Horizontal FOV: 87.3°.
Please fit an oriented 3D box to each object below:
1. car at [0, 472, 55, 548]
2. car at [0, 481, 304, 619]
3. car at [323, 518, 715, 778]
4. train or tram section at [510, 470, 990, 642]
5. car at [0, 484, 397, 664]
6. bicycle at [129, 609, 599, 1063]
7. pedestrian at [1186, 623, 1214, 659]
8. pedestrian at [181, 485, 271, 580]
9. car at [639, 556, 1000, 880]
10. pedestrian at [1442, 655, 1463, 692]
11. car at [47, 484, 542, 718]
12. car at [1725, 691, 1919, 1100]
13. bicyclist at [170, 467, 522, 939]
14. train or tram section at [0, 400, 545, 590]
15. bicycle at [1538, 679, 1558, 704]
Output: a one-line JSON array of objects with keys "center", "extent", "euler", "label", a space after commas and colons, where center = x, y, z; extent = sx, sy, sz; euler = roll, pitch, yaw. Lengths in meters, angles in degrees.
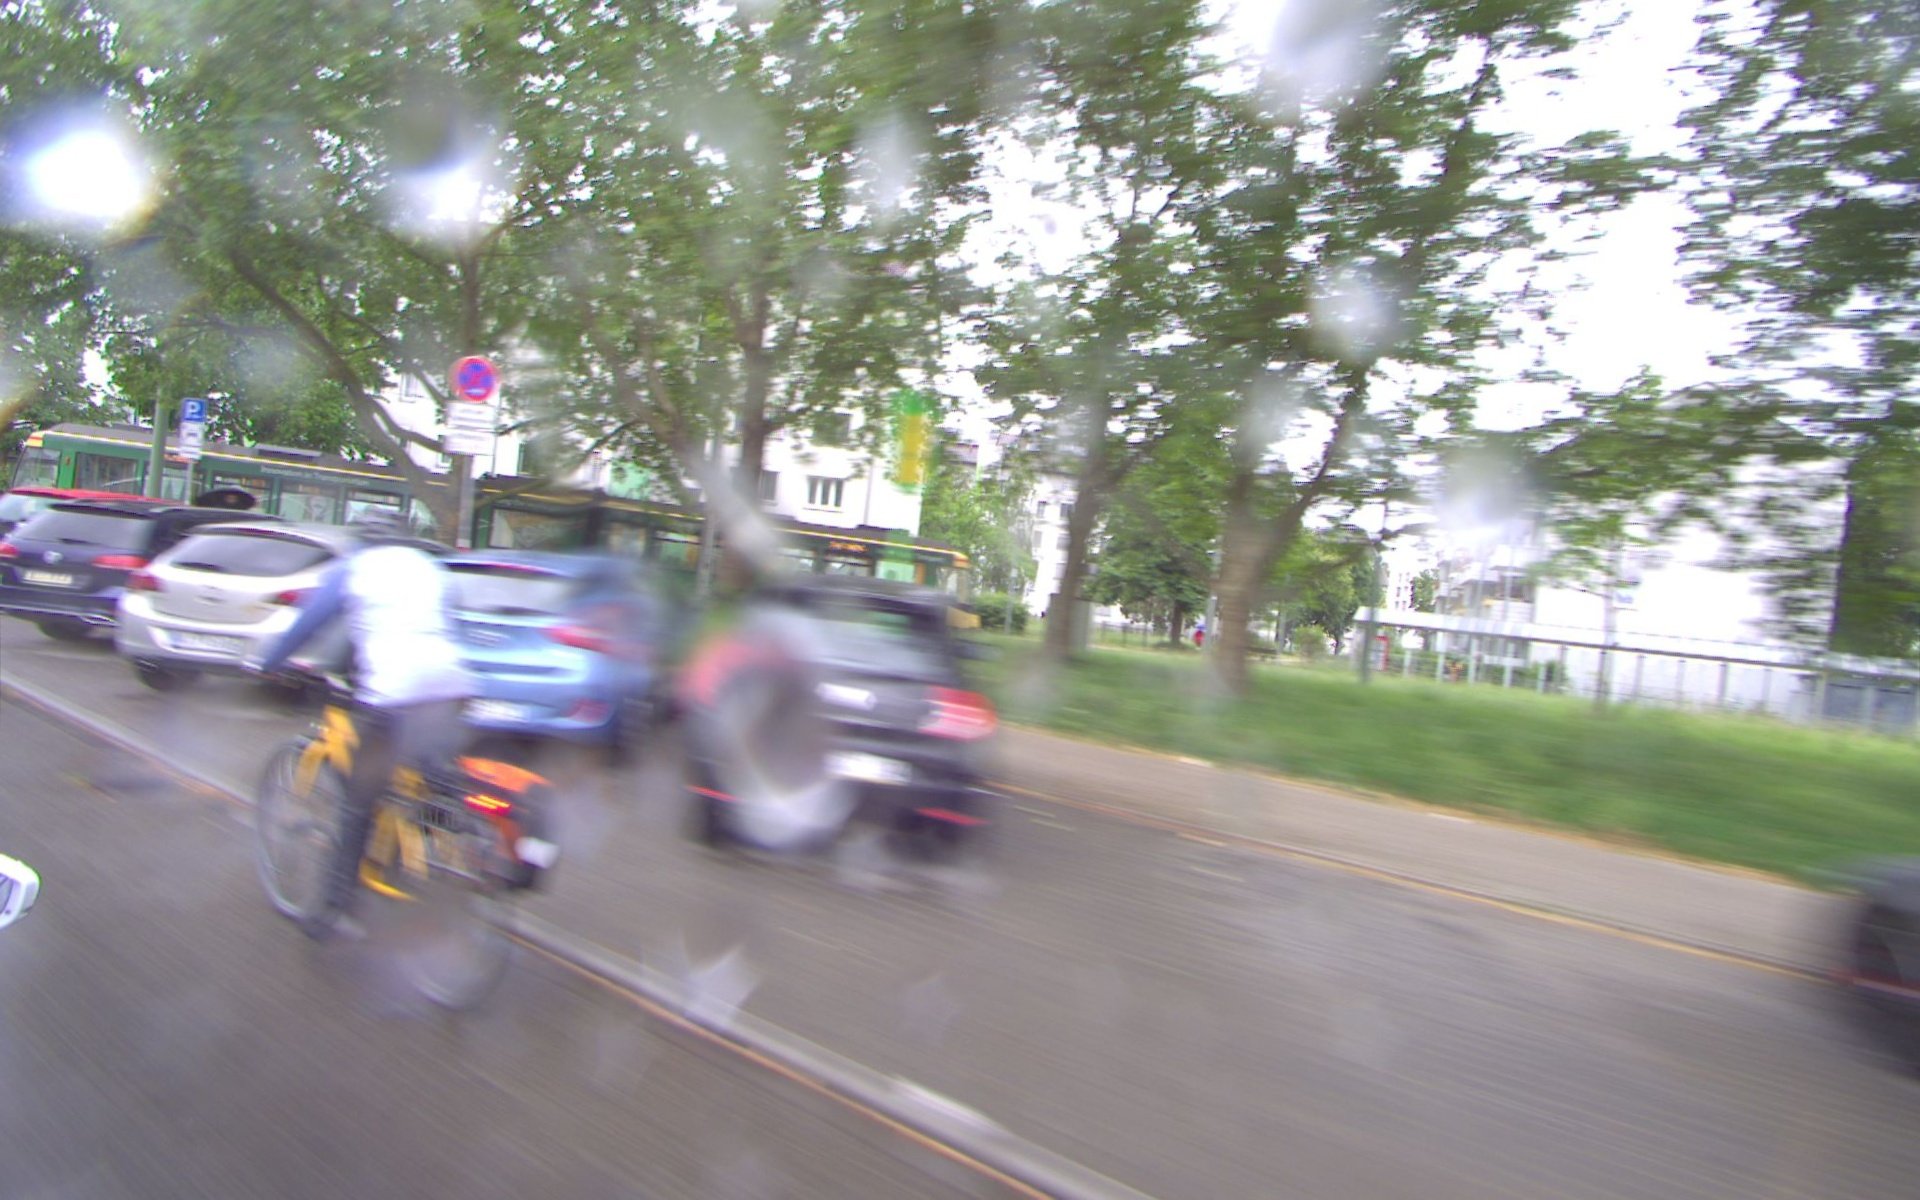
[{"center": [-20.803, -1.998, 19.907], "extent": [1.963, 1.502, 3.999], "euler": [8, 1, 2], "label": "car"}, {"center": [-11.013, -0.641, 13.545], "extent": [1.606, 1.499, 3.597], "euler": [7, 2, 7], "label": "car"}, {"center": [-3.281, 0.211, 8.388], "extent": [1.792, 1.521, 3.991], "euler": [5, 3, -6], "label": "car"}, {"center": [-6.525, -1.268, 32.973], "extent": [14.489, 3.633, 2.711], "euler": [7, -1, -10], "label": "train or tram section"}, {"center": [-8.481, -0.309, 11.258], "extent": [1.831, 1.499, 4.120], "euler": [6, 2, 2], "label": "car"}, {"center": [-2.286, 0.710, 3.747], "extent": [1.897, 1.086, 0.752], "euler": [8, 2, 36], "label": "bicycle"}, {"center": [13.399, 2.309, 56.138], "extent": [1.169, 1.907, 1.052], "euler": [5, 0, 28], "label": "pedestrian"}, {"center": [-14.633, -1.340, 20.062], "extent": [1.063, 1.736, 1.045], "euler": [7, 2, 33], "label": "pedestrian"}, {"center": [-0.779, 0.563, 6.891], "extent": [1.722, 1.526, 3.512], "euler": [5, 2, -2], "label": "car"}, {"center": [21.939, 3.279, 44.798], "extent": [0.626, 1.592, 0.787], "euler": [5, 0, 33], "label": "pedestrian"}, {"center": [-5.769, -0.019, 9.456], "extent": [1.924, 1.573, 3.997], "euler": [5, 1, 0], "label": "car"}, {"center": [4.548, 1.274, 2.618], "extent": [1.770, 1.494, 4.550], "euler": [7, 0, 5], "label": "car"}, {"center": [-2.305, 0.331, 3.787], "extent": [0.833, 1.504, 0.750], "euler": [9, 2, 36], "label": "bicyclist"}, {"center": [-20.690, -2.976, 30.473], "extent": [14.489, 3.633, 2.711], "euler": [7, -1, -10], "label": "train or tram section"}, {"center": [24.667, 3.813, 42.207], "extent": [0.410, 0.959, 1.308], "euler": [5, -1, 19], "label": "bicycle"}]
